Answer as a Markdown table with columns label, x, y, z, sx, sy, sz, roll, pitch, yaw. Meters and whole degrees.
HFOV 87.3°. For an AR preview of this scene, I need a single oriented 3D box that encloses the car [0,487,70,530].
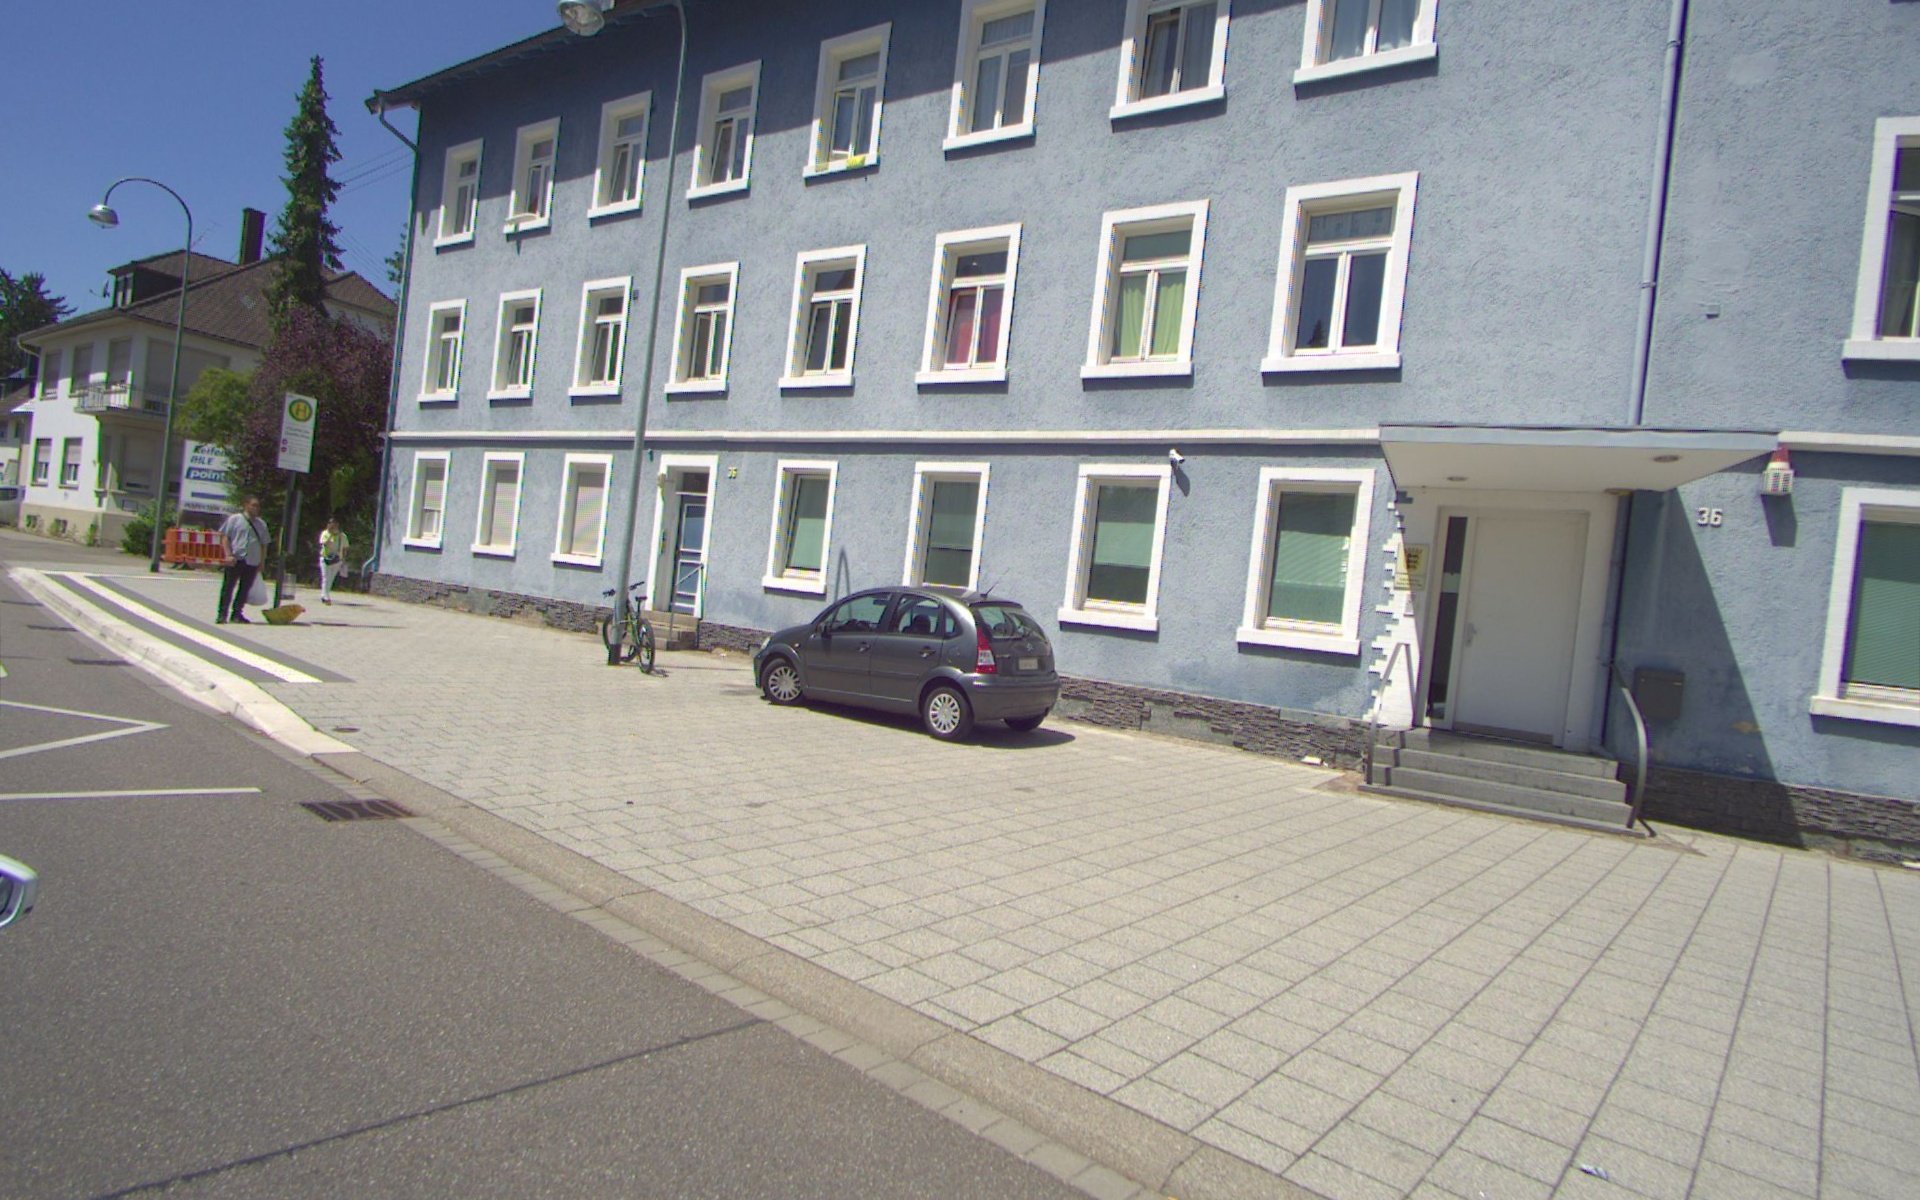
| label | x | y | z | sx | sy | sz | roll | pitch | yaw |
| --- | --- | --- | --- | --- | --- | --- | --- | --- | --- |
| car | -41.933 | -4.230 | 43.598 | 1.741 | 1.424 | 4.647 | 7 | -3 | 36 |

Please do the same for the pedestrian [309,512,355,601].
| label | x | y | z | sx | sy | sz | roll | pitch | yaw |
| --- | --- | --- | --- | --- | --- | --- | --- | --- | --- |
| pedestrian | -12.148 | -0.842 | 19.449 | 0.610 | 1.637 | 0.742 | 3 | 3 | -38 |

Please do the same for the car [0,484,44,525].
| label | x | y | z | sx | sy | sz | roll | pitch | yaw |
| --- | --- | --- | --- | --- | --- | --- | --- | --- | --- |
| car | -44.224 | -4.573 | 45.062 | 4.250 | 1.565 | 1.748 | 9 | -3 | -23 |

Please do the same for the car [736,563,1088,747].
| label | x | y | z | sx | sy | sz | roll | pitch | yaw |
| --- | --- | --- | --- | --- | --- | --- | --- | --- | --- |
| car | -0.625 | 0.517 | 11.559 | 3.683 | 1.535 | 1.755 | 7 | 3 | 36 |

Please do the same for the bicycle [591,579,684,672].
| label | x | y | z | sx | sy | sz | roll | pitch | yaw |
| --- | --- | --- | --- | --- | --- | --- | --- | --- | --- |
| bicycle | -4.385 | 0.316 | 13.583 | 0.627 | 1.053 | 1.865 | 3 | 3 | -35 |

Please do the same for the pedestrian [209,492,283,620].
| label | x | y | z | sx | sy | sz | roll | pitch | yaw |
| --- | --- | --- | --- | --- | --- | --- | --- | --- | --- |
| pedestrian | -10.624 | -0.649 | 14.964 | 0.738 | 1.830 | 0.613 | 6 | 4 | 31 |

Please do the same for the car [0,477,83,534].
| label | x | y | z | sx | sy | sz | roll | pitch | yaw |
| --- | --- | --- | --- | --- | --- | --- | --- | --- | --- |
| car | -39.755 | -4.110 | 41.963 | 1.708 | 1.851 | 4.306 | 8 | -3 | 27 |
